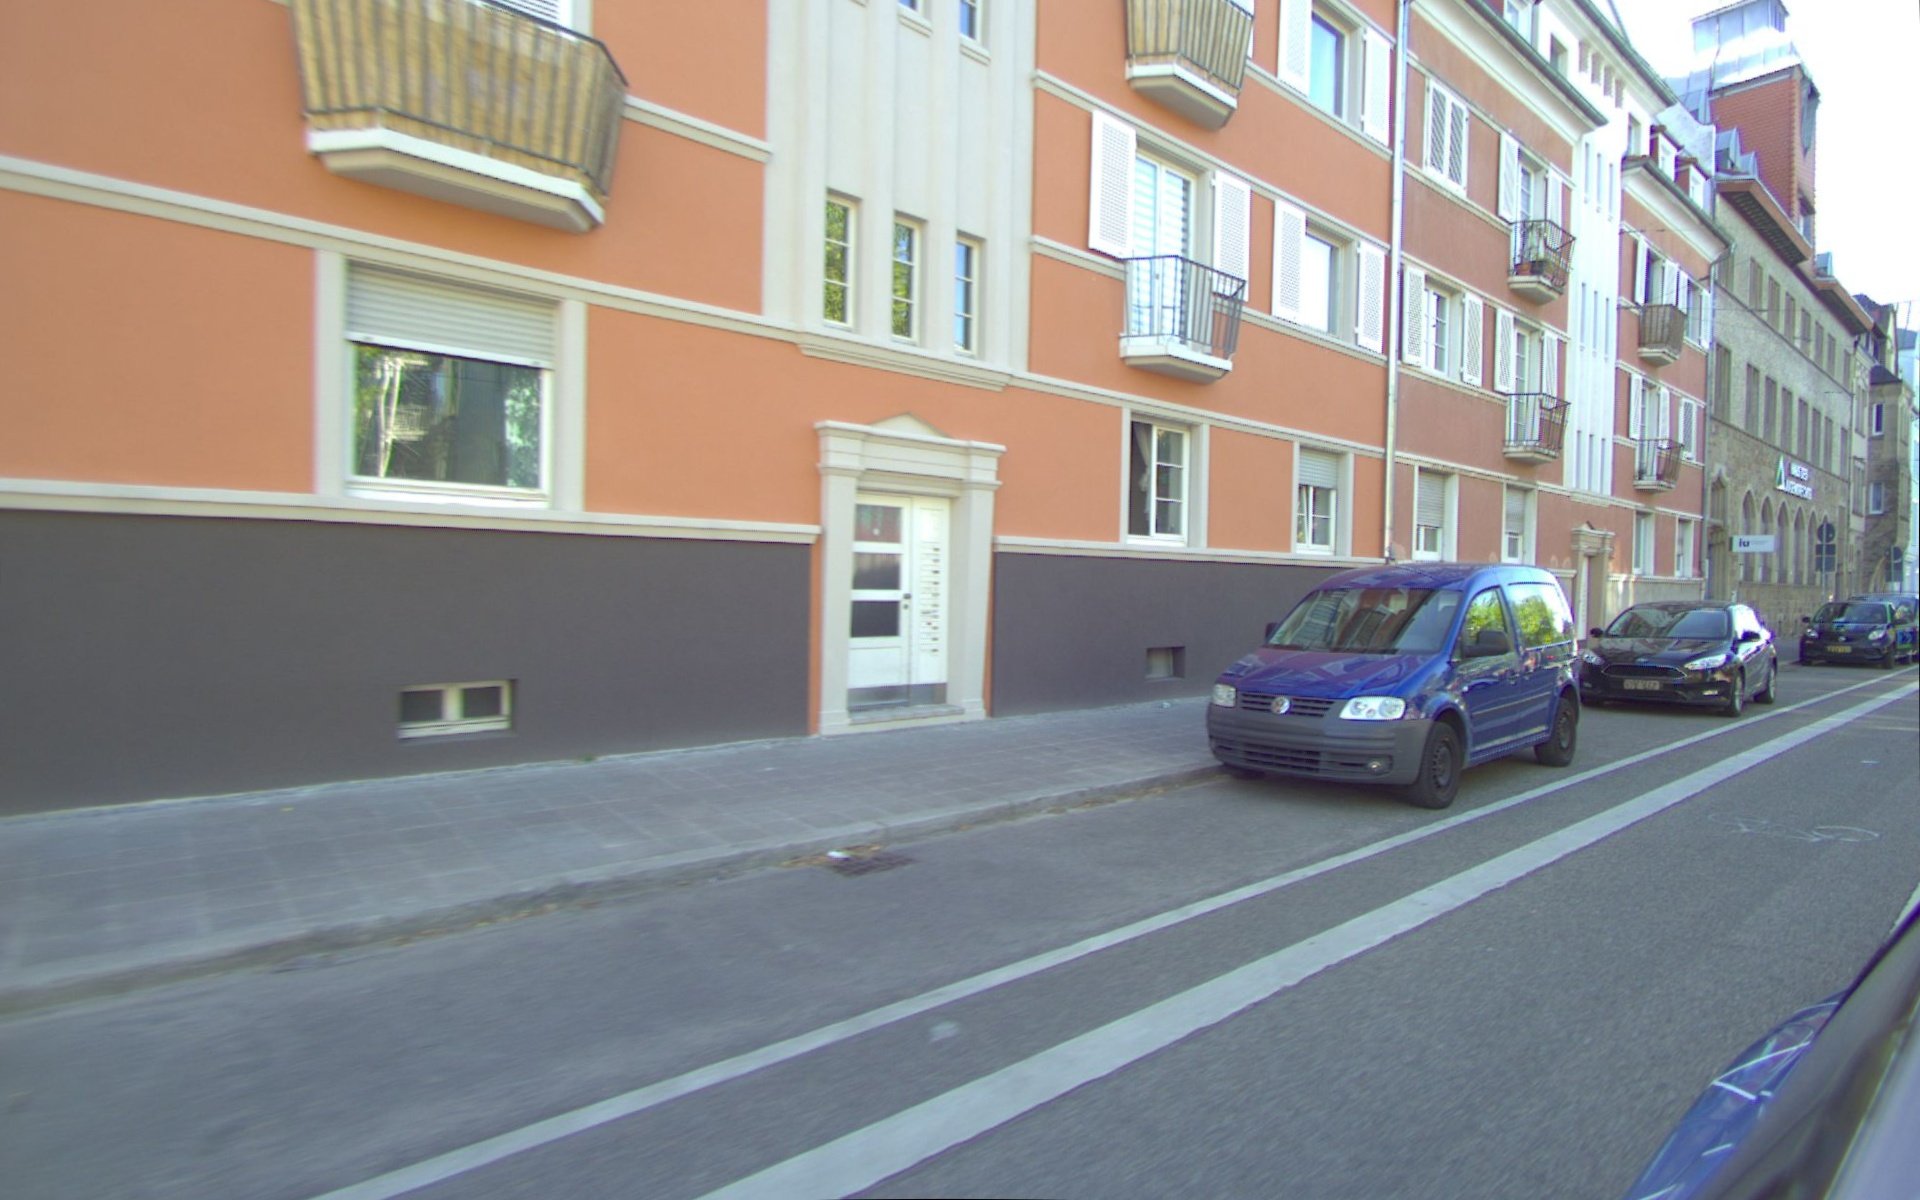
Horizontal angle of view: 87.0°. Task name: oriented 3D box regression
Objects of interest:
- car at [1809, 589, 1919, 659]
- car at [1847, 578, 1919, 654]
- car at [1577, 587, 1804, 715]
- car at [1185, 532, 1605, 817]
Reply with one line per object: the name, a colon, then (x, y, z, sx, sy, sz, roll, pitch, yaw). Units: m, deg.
car: (21.560, 0.534, 23.941, 3.650, 1.530, 1.635, 0, 0, -40)
car: (25.136, 0.385, 26.879, 4.731, 1.879, 1.756, 0, 1, -41)
car: (10.447, 0.606, 14.323, 4.682, 1.530, 1.755, 0, 0, -43)
car: (3.843, 0.462, 8.568, 4.199, 1.833, 1.705, 0, 0, -42)
